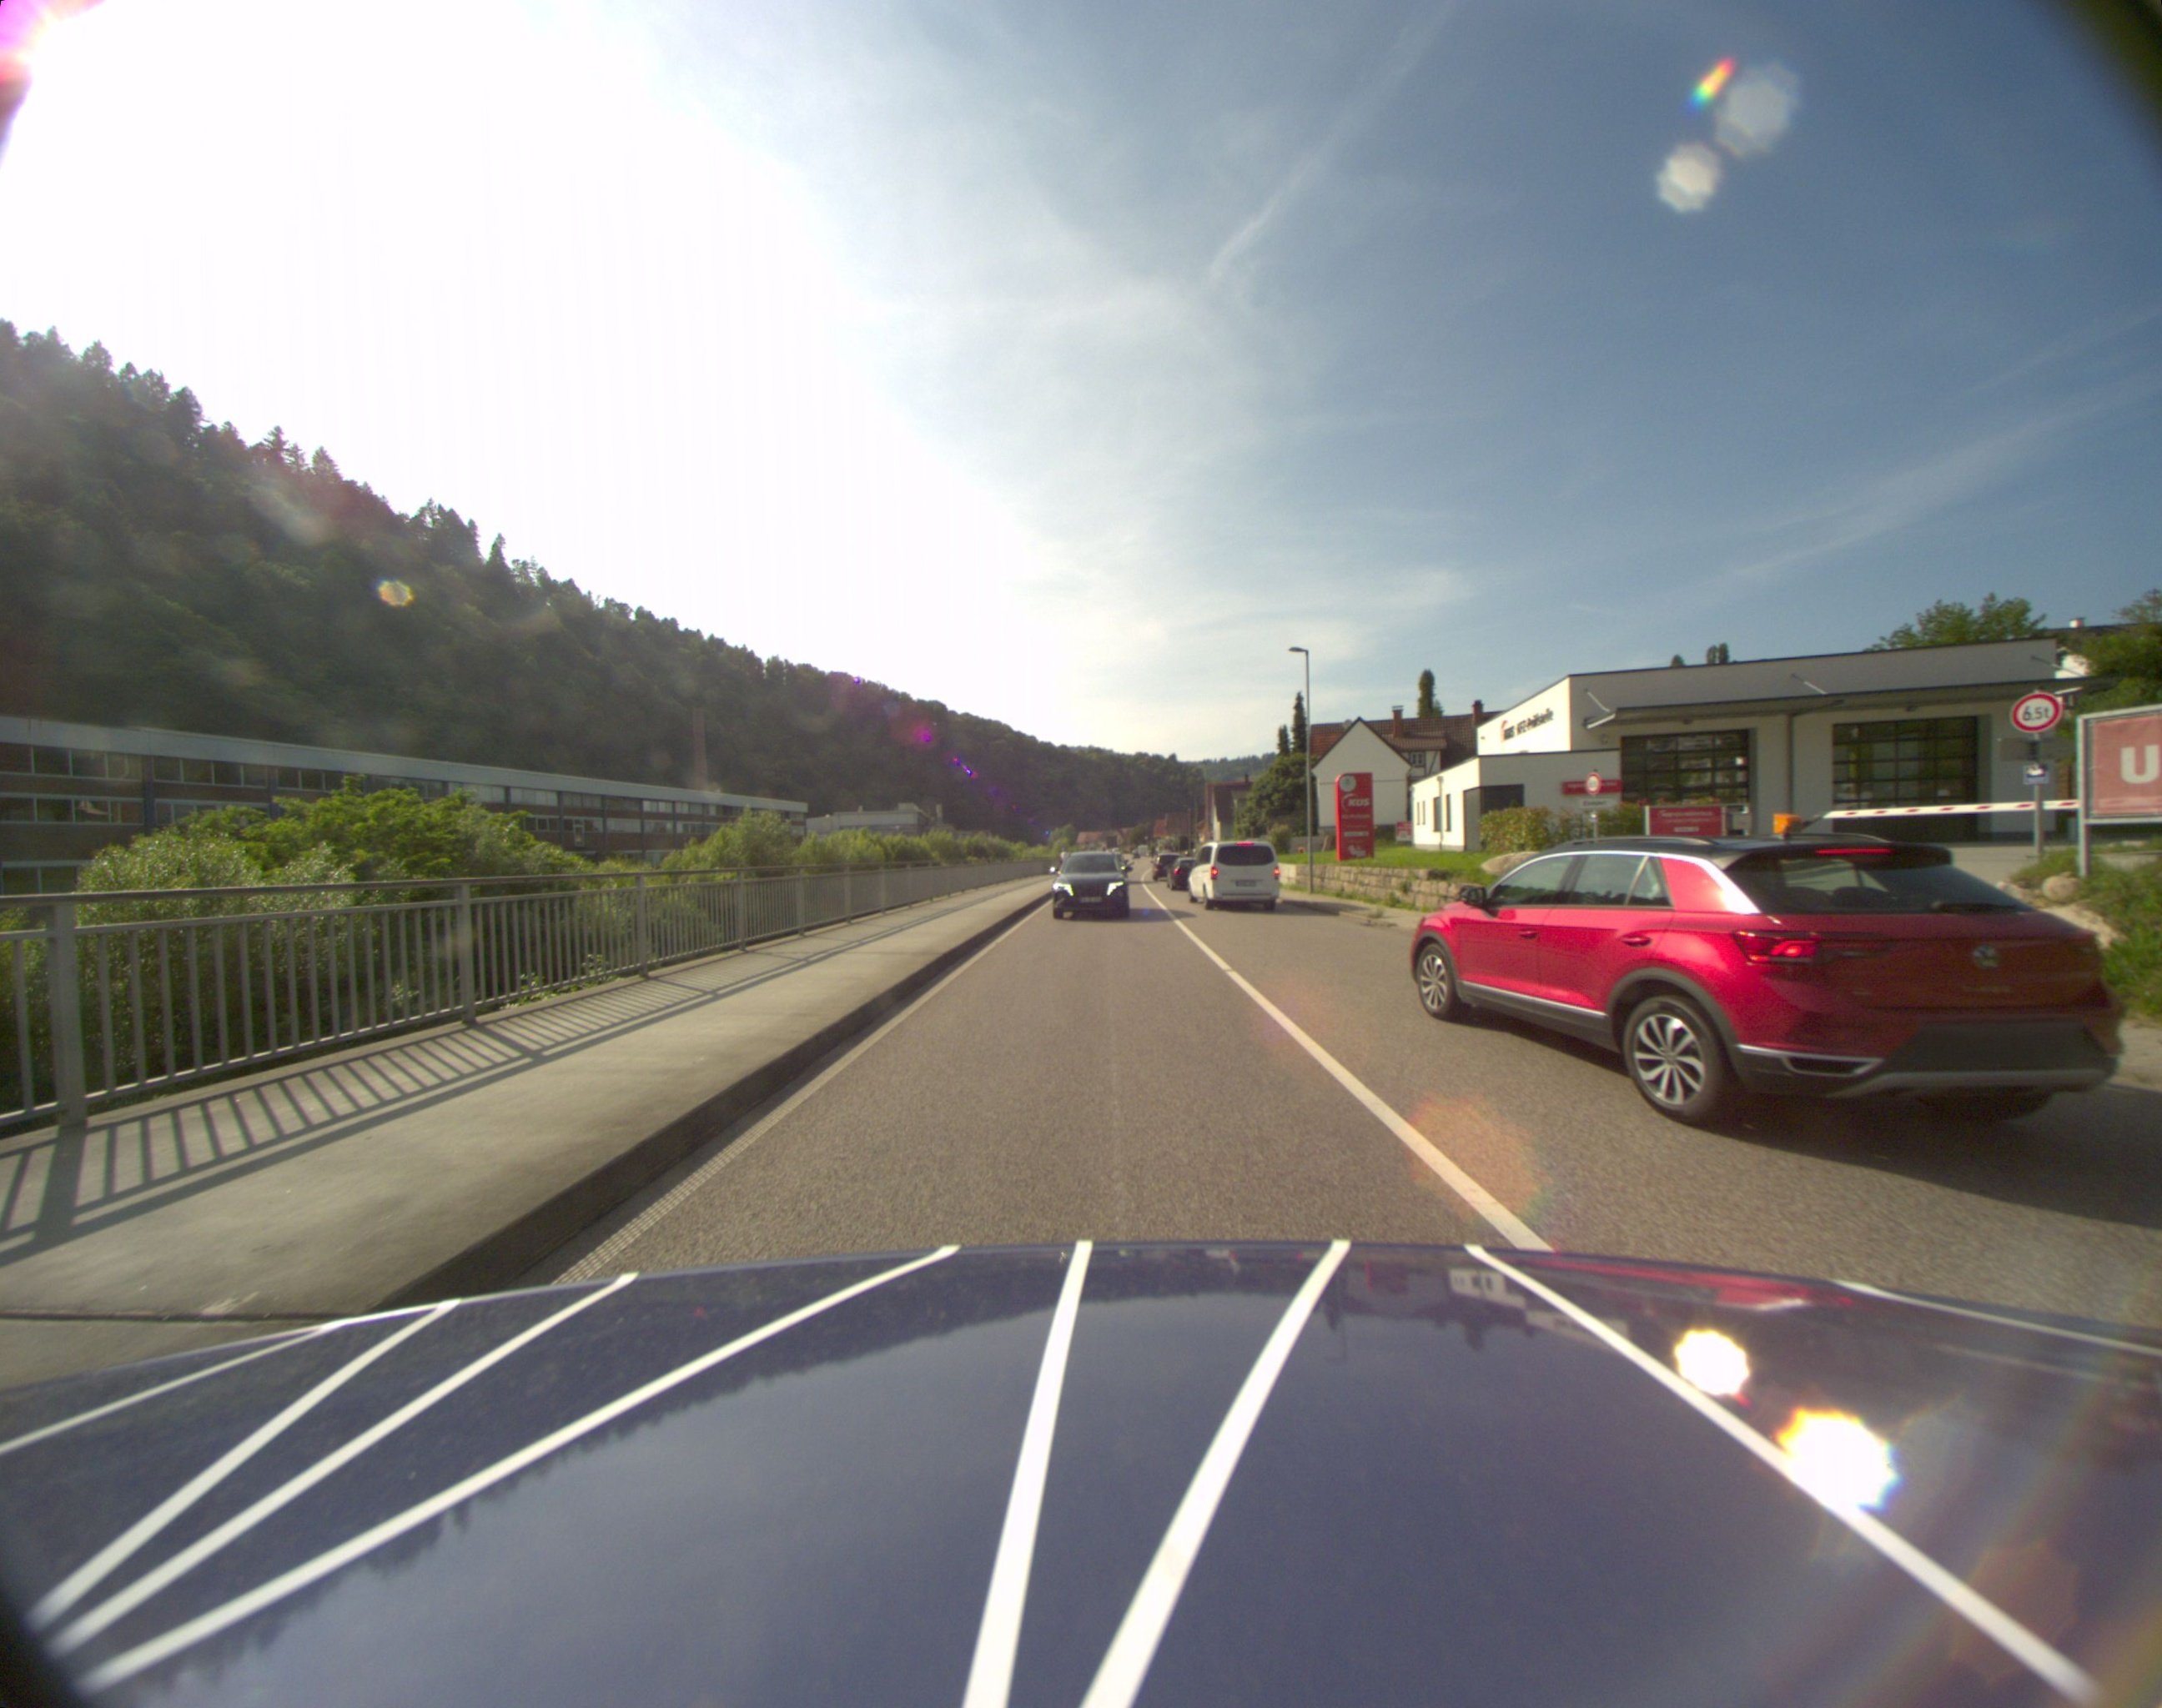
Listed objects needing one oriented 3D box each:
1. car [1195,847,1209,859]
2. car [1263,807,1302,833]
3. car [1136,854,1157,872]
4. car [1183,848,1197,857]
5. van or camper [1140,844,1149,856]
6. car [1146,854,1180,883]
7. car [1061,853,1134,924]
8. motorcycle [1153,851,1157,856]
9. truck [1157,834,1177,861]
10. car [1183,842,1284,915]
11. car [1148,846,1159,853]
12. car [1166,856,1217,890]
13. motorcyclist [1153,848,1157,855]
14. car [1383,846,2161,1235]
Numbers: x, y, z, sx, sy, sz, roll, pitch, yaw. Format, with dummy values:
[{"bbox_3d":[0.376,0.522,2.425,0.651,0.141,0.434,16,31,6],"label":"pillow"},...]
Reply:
[{"bbox_3d":[17.425,-0.153,109.289,1.904,1.655,4.270,-3,1,10],"label":"car"},{"bbox_3d":[16.753,-2.860,63.225,1.999,2.003,3.997,-3,3,-2],"label":"car"},{"bbox_3d":[5.818,0.789,67.811,1.748,1.517,4.001,-1,0,3],"label":"car"},{"bbox_3d":[19.210,-0.305,133.930,1.889,1.510,4.236,-3,0,2],"label":"car"},{"bbox_3d":[16.766,-0.985,200.067,2.200,2.921,7.129,-3,0,5],"label":"van or camper"},{"bbox_3d":[4.881,0.814,45.605,1.801,1.608,4.463,-2,0,4],"label":"car"},{"bbox_3d":[0.336,0.806,19.713,1.649,1.639,3.999,-1,0,-2],"label":"car"},{"bbox_3d":[16.114,-0.027,165.159,0.655,1.062,2.183,-1,1,9],"label":"motorcycle"},{"bbox_3d":[13.276,-0.971,117.513,2.584,3.909,11.308,-1,1,4],"label":"truck"},{"bbox_3d":[4.303,0.632,22.328,1.901,1.876,5.295,0,0,0],"label":"car"},{"bbox_3d":[17.225,-1.047,179.979,1.632,1.476,4.004,-4,1,17],"label":"car"},{"bbox_3d":[4.817,0.815,33.555,1.777,1.390,4.234,0,0,2],"label":"car"},{"bbox_3d":[16.102,-0.577,165.258,0.827,1.549,0.628,-1,1,10],"label":"motorcyclist"},{"bbox_3d":[3.837,0.773,5.248,1.710,1.574,4.158,-1,0,-2],"label":"car"}]
